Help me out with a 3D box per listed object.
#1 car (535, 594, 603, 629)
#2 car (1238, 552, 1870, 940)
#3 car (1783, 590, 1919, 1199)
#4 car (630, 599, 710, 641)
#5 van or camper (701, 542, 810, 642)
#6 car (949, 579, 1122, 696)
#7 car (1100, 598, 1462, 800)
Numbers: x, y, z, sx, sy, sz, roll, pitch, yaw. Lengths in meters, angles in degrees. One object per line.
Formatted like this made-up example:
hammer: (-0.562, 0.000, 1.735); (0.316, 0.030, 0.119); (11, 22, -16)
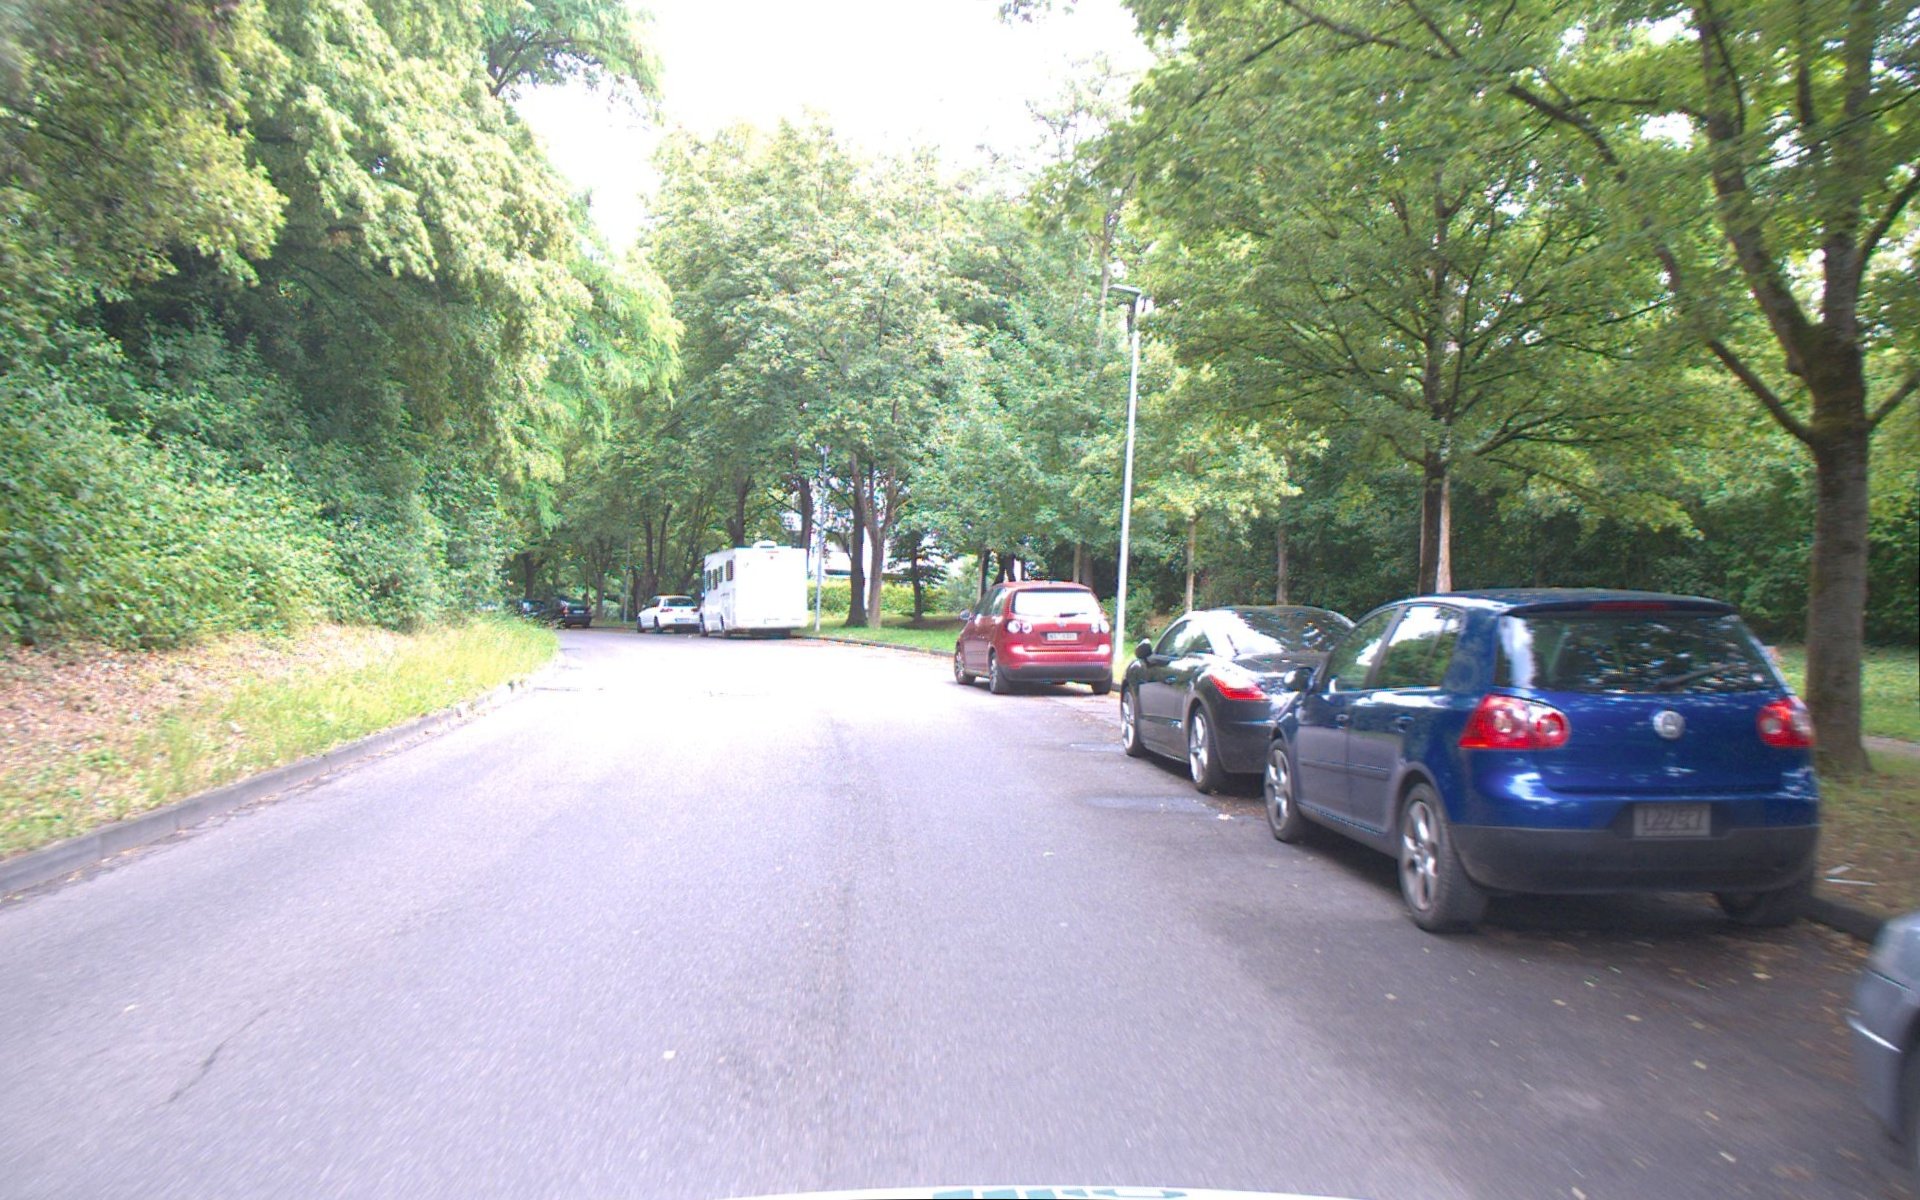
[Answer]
car: (-19.054, 0.530, 80.475); (1.975, 1.527, 3.954); (3, 0, -33)
car: (2.819, 0.611, 8.932); (1.680, 1.536, 4.178); (3, 0, -3)
car: (3.031, 0.704, 2.324); (1.683, 1.456, 3.947); (0, 0, -2)
car: (-11.549, 0.786, 65.769); (1.971, 1.498, 3.963); (3, 0, -28)
van or camper: (-6.678, -0.289, 53.525); (2.394, 3.060, 5.177); (0, 1, -21)
car: (1.022, 0.517, 24.520); (1.707, 1.590, 3.990); (0, 0, -11)
car: (2.426, 0.690, 13.684); (1.716, 1.360, 4.410); (1, 0, -6)
